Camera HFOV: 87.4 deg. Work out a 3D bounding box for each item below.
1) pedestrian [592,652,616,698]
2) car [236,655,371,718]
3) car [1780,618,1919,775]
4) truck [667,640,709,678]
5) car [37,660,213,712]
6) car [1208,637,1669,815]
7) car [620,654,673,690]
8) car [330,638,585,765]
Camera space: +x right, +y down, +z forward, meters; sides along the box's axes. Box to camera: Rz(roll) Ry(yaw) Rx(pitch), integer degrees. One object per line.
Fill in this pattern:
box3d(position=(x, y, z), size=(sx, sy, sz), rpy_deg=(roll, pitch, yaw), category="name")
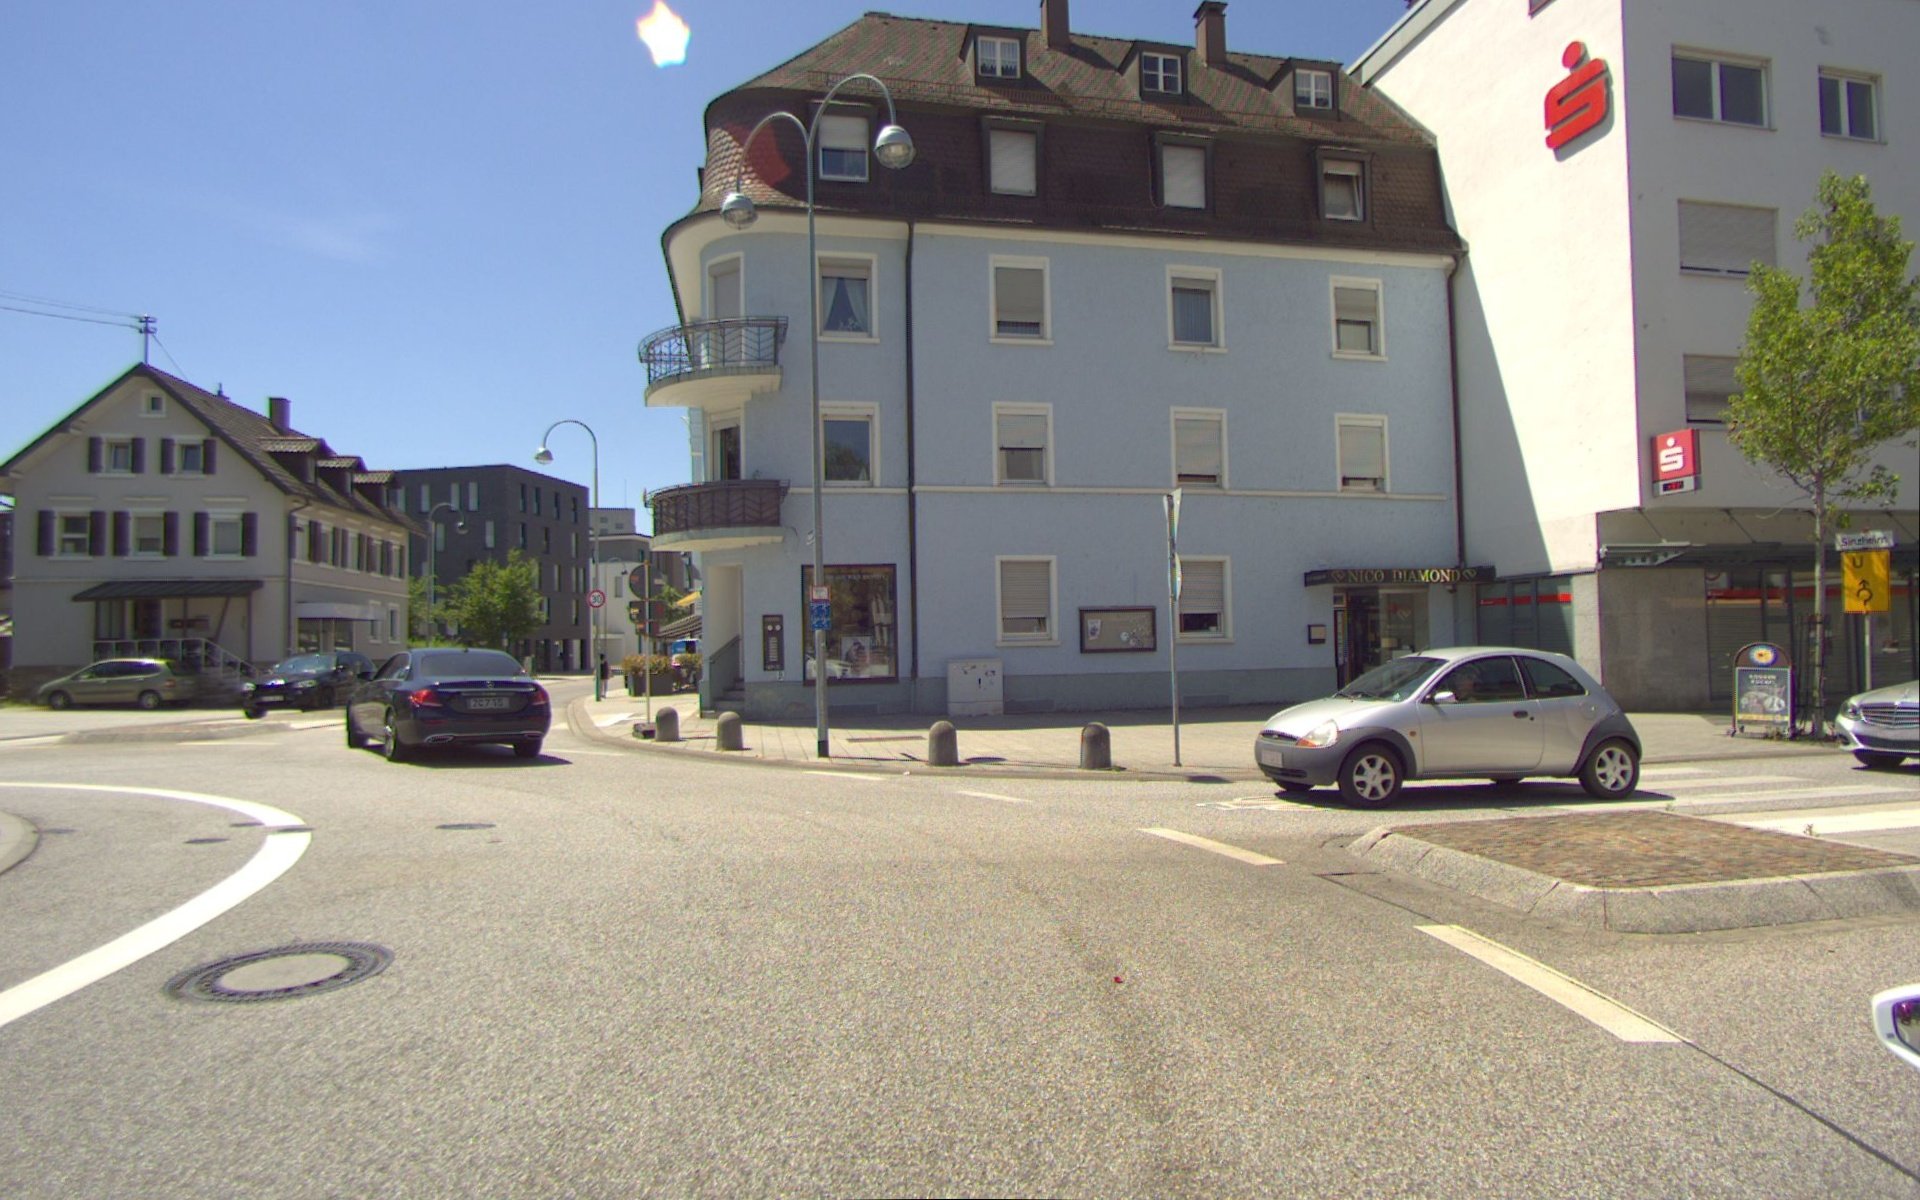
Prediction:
box3d(position=(-12.271, 2.585, 34.667), size=(0.617, 1.544, 0.802), rpy_deg=(-3, -2, -13), category="pedestrian")
box3d(position=(-17.931, 2.326, 27.626), size=(1.722, 1.566, 3.590), rpy_deg=(0, -3, -8), category="car")
box3d(position=(12.228, 0.989, 11.216), size=(4.909, 1.613, 1.997), rpy_deg=(-1, -4, -11), category="car")
box3d(position=(-18.734, 4.072, 69.354), size=(1.926, 2.400, 4.334), rpy_deg=(5, -3, -6), category="truck")
box3d(position=(-26.915, 2.758, 32.506), size=(3.926, 1.616, 1.793), rpy_deg=(0, -4, -8), category="car")
box3d(position=(4.551, 1.164, 9.844), size=(3.720, 1.477, 1.703), rpy_deg=(-1, -4, -9), category="car")
box3d(position=(-15.006, 3.422, 48.248), size=(1.652, 1.566, 3.943), rpy_deg=(-3, -3, -6), category="car")
box3d(position=(-7.250, 1.415, 14.252), size=(1.986, 1.496, 4.652), rpy_deg=(5, -7, -42), category="car")
